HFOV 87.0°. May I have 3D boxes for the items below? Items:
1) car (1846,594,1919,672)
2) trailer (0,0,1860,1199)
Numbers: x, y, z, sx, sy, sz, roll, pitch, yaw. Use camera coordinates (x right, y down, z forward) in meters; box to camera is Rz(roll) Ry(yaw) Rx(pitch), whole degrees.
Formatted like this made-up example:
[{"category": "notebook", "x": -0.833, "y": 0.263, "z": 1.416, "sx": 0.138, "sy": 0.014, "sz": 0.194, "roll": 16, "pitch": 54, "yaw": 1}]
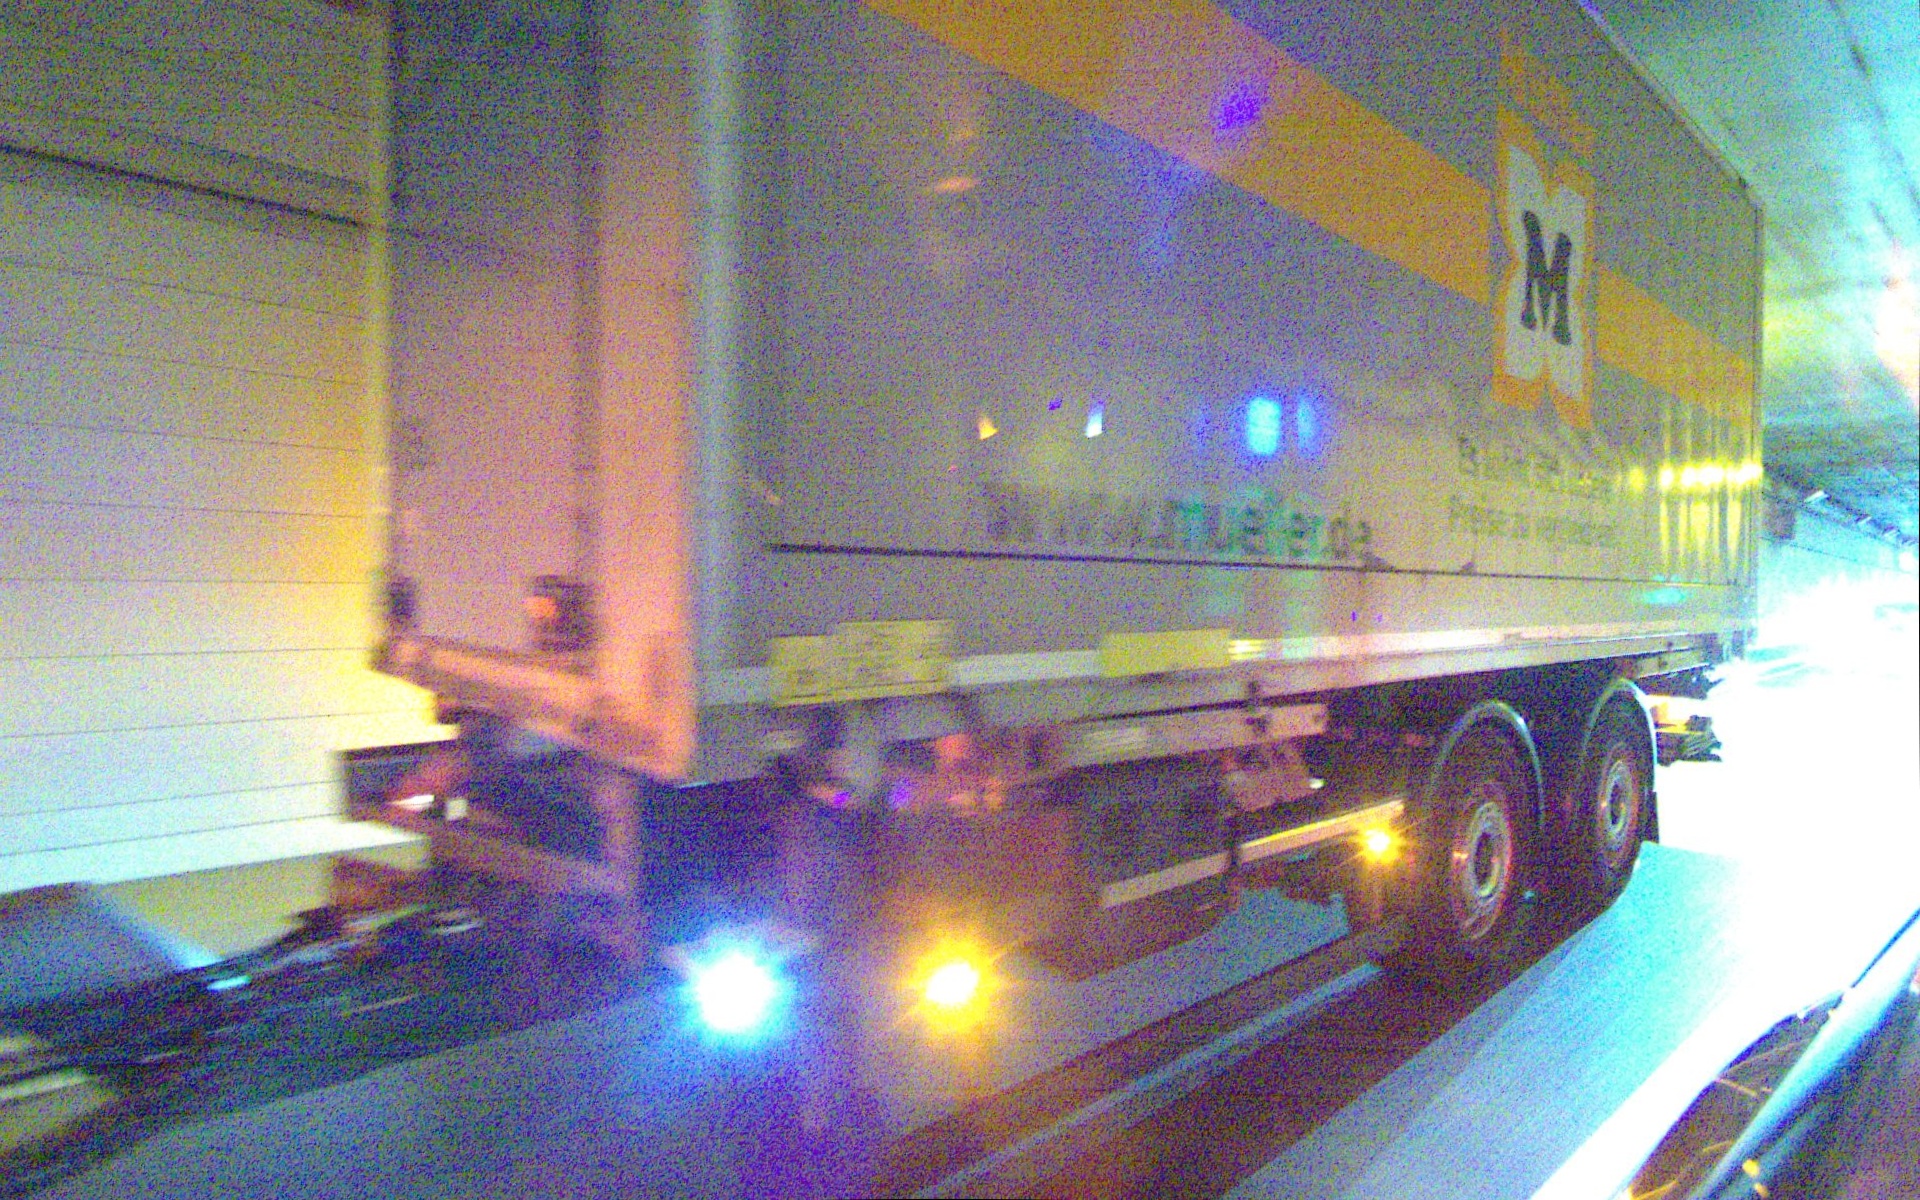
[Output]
[{"category": "car", "x": 19.351, "y": 0.616, "z": 20.406, "sx": 3.732, "sy": 1.420, "sz": 1.734, "roll": -1, "pitch": 1, "yaw": -41}, {"category": "trailer", "x": 1.185, "y": -0.664, "z": 4.489, "sx": 8.789, "sy": 3.906, "sz": 2.882, "roll": 0, "pitch": 2, "yaw": -40}]
